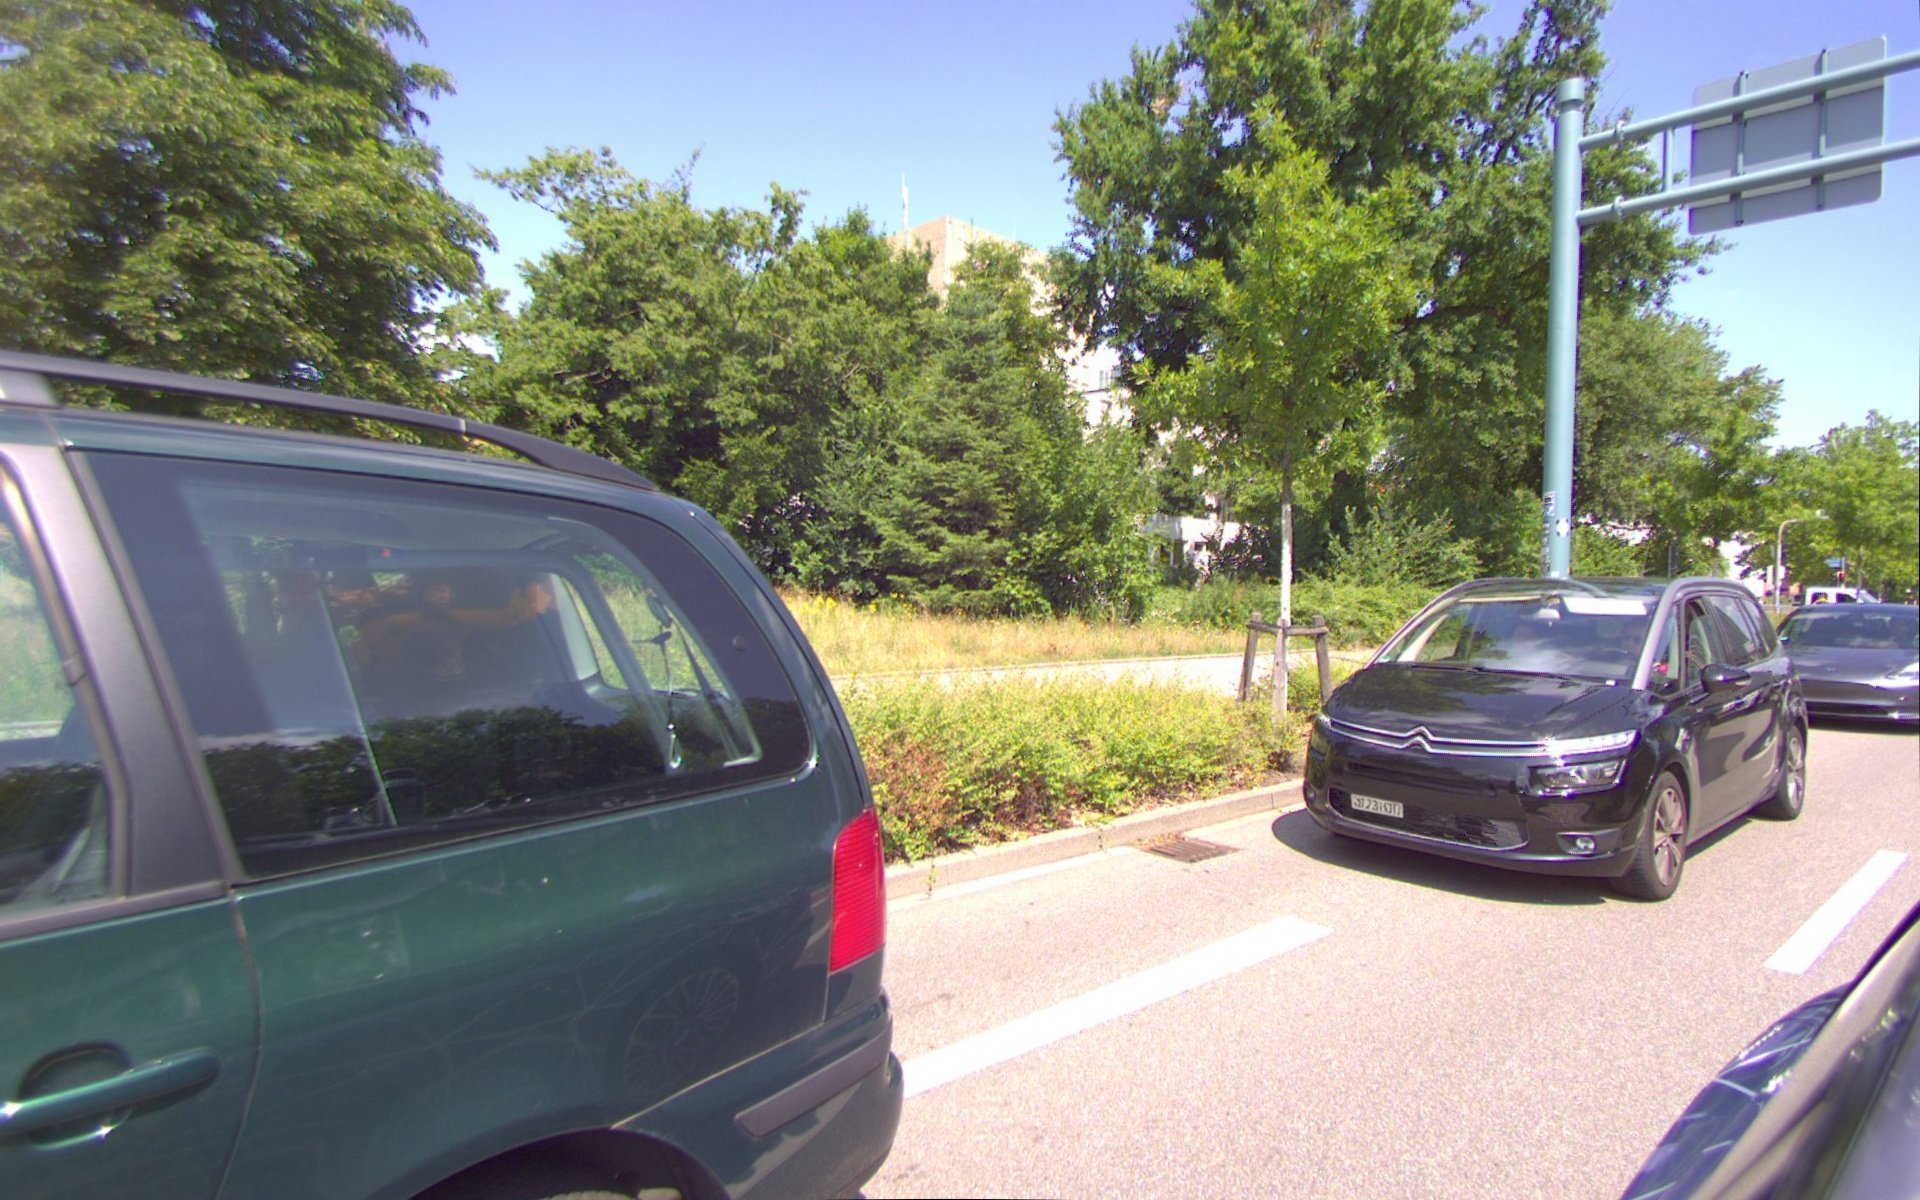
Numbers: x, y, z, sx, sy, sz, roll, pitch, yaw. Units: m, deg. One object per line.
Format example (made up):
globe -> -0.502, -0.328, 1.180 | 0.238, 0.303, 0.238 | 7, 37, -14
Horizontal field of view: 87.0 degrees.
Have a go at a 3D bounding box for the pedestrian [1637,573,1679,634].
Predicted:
pedestrian -> 20.784, 0.094, 30.139 | 0.827, 1.787, 0.844 | 0, 0, -41

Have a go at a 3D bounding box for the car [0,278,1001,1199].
car -> -2.159, 0.566, 1.071 | 4.369, 1.745, 1.797 | 1, -1, -40

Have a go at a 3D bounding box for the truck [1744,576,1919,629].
truck -> 41.176, 0.141, 48.006 | 2.415, 2.330, 5.819 | 0, -1, -31

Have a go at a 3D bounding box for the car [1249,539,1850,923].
car -> 3.963, 0.581, 6.476 | 4.438, 1.643, 1.862 | 0, -1, -39

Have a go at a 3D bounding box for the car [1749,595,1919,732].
car -> 11.330, 0.686, 12.485 | 4.288, 1.436, 1.763 | 1, -1, -42

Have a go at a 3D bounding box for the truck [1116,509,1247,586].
truck -> 9.677, -2.159, 43.713 | 7.009, 3.061, 2.093 | -1, 0, -45
